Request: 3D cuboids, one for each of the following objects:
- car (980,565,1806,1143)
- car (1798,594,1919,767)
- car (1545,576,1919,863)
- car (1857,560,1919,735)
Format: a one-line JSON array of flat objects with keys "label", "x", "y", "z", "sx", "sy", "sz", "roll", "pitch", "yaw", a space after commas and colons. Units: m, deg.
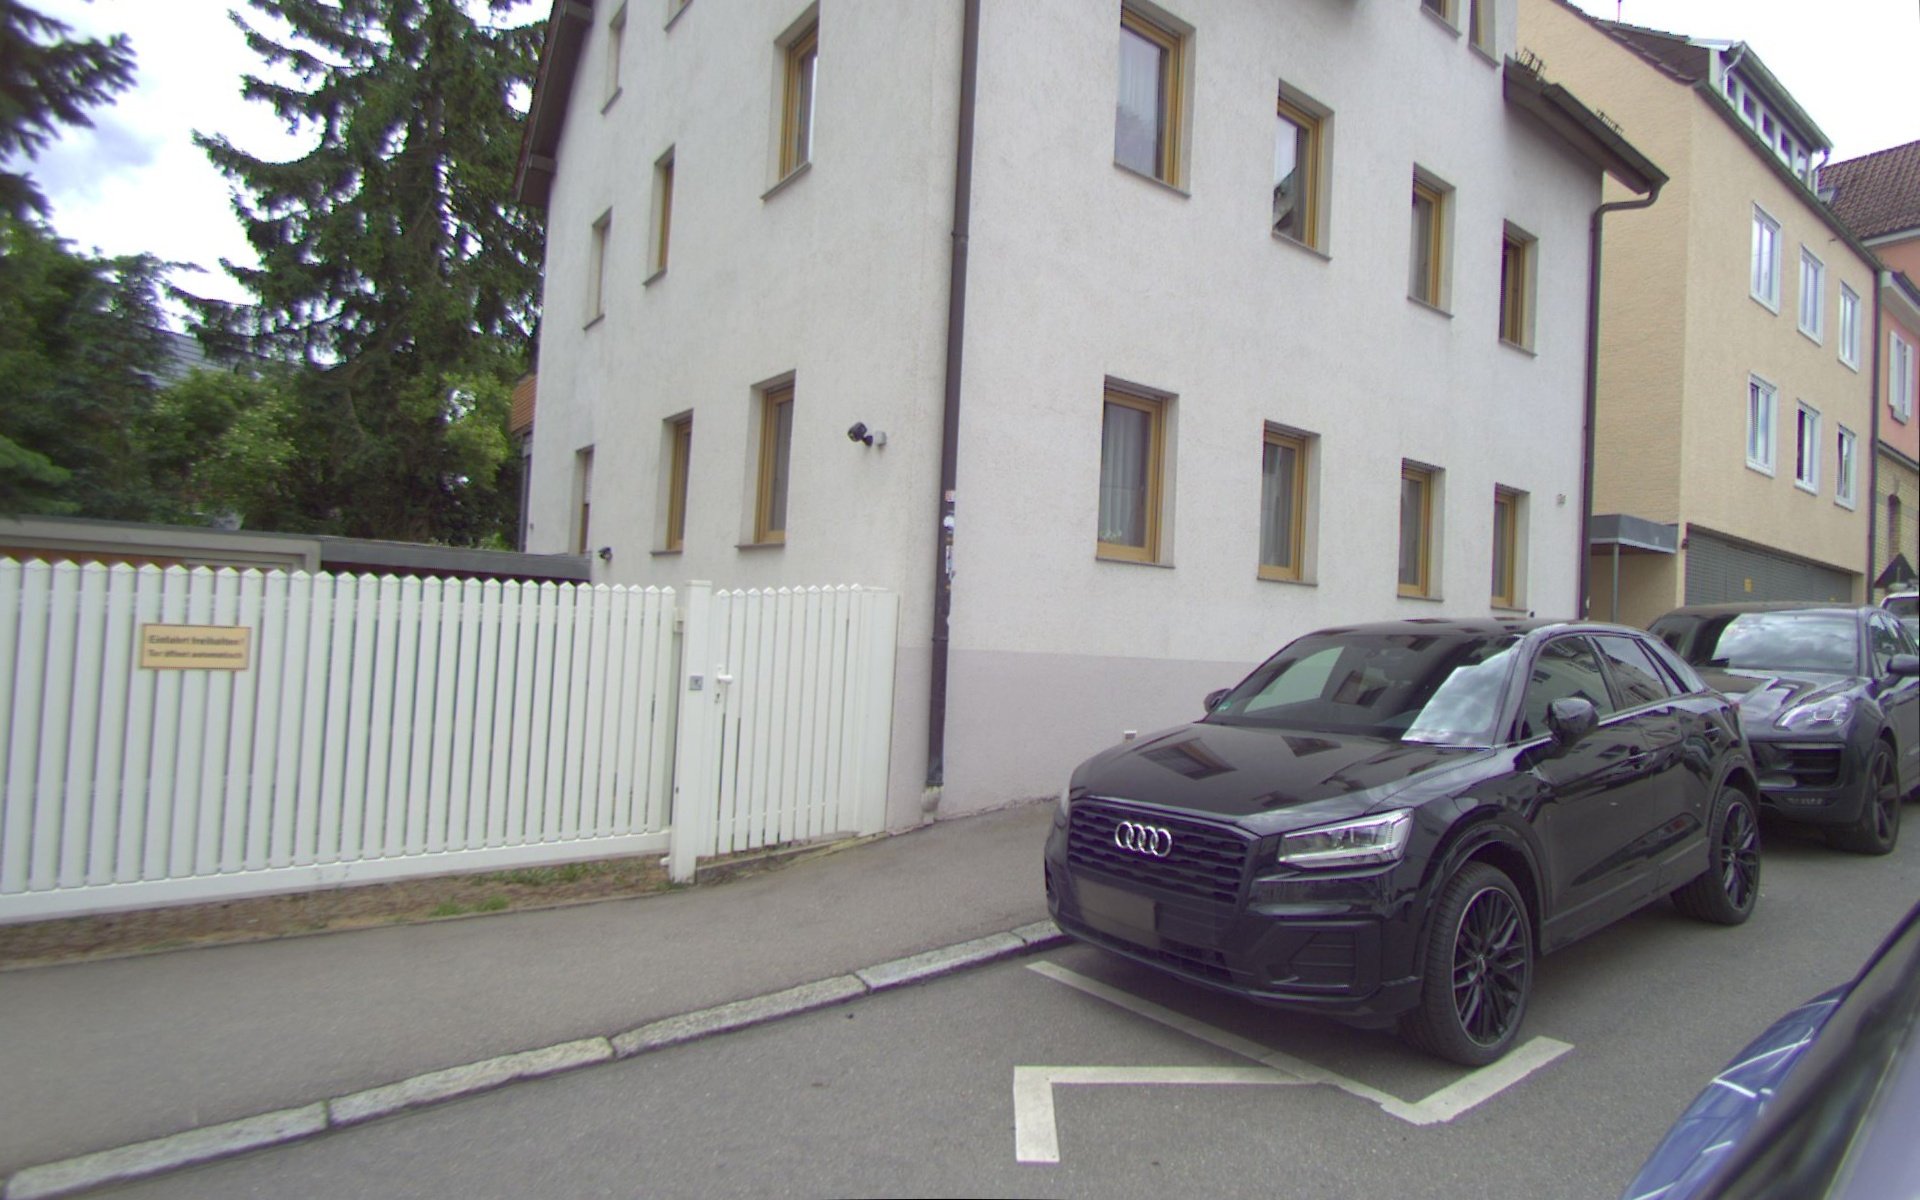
[{"label": "car", "x": 2.197, "y": 0.736, "z": 4.679, "sx": 3.996, "sy": 1.586, "sz": 1.720, "roll": 1, "pitch": -1, "yaw": -36}, {"label": "car", "x": 9.988, "y": 0.777, "z": 10.451, "sx": 2.739, "sy": 1.617, "sz": 1.490, "roll": 1, "pitch": -2, "yaw": -38}, {"label": "car", "x": 6.355, "y": 0.718, "z": 7.754, "sx": 4.415, "sy": 1.617, "sz": 1.717, "roll": 1, "pitch": -2, "yaw": -38}, {"label": "car", "x": 13.783, "y": 0.604, "z": 13.278, "sx": 5.625, "sy": 2.056, "sz": 1.910, "roll": 1, "pitch": -2, "yaw": -37}]
